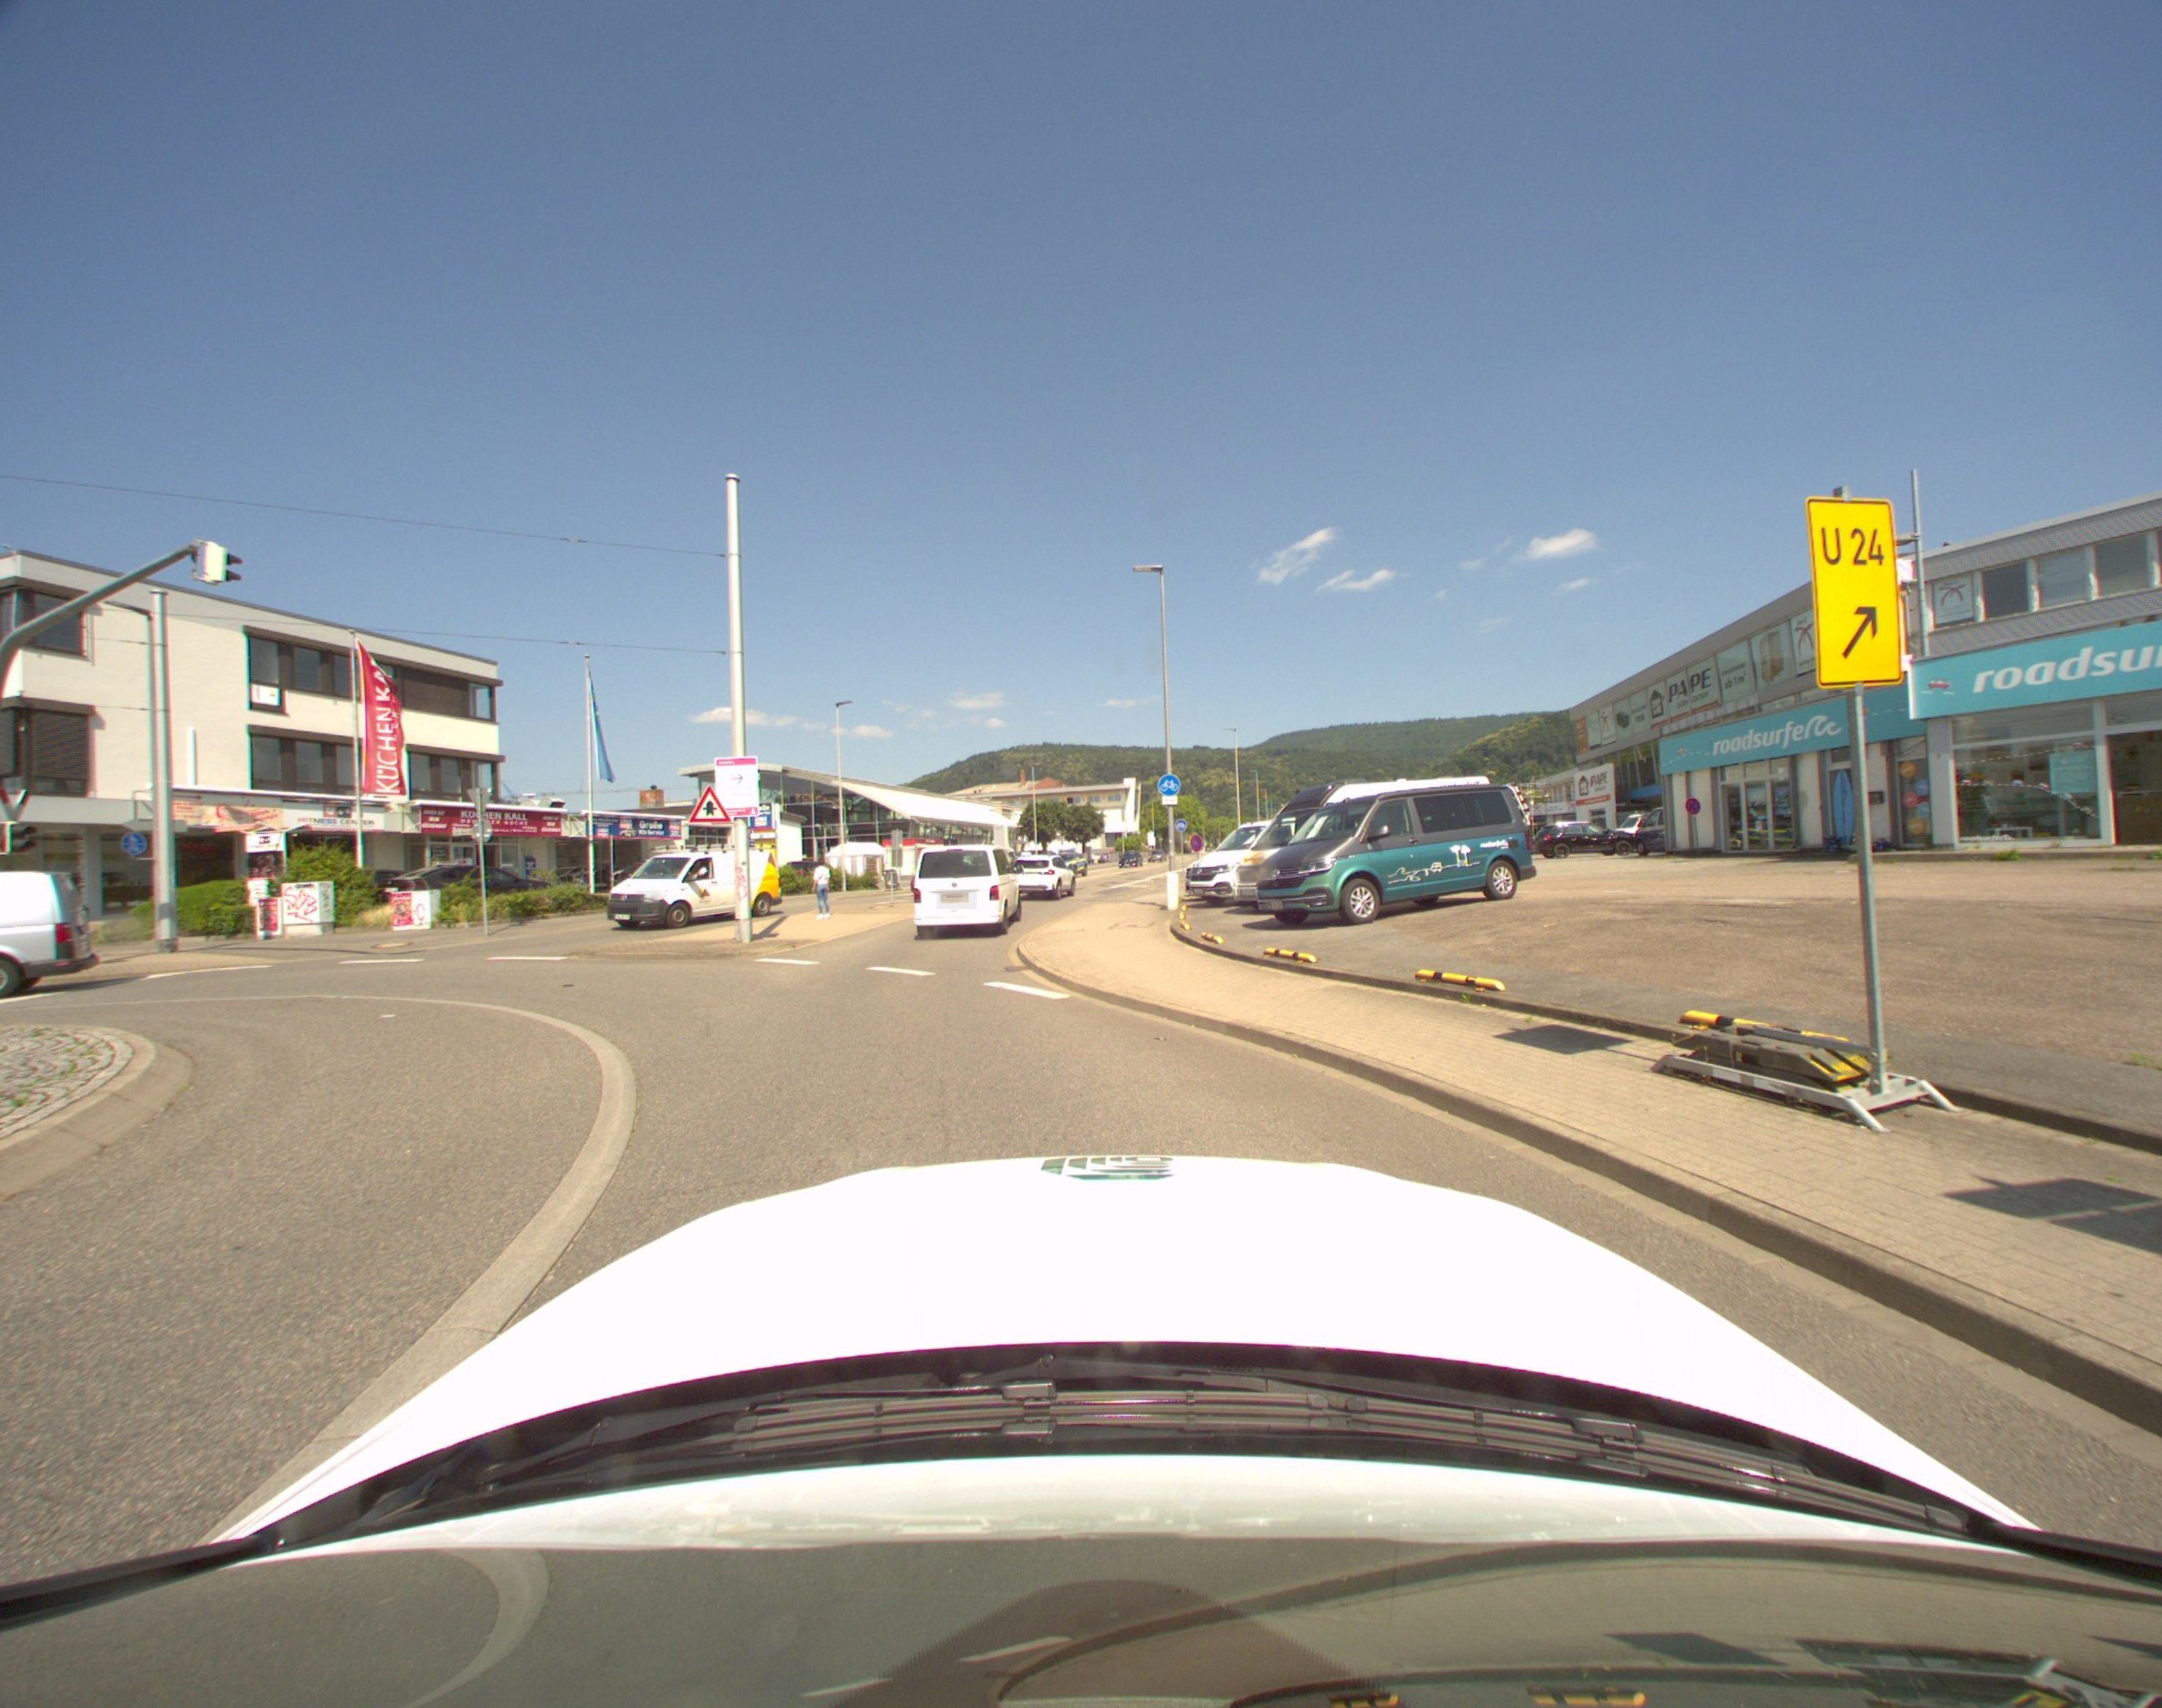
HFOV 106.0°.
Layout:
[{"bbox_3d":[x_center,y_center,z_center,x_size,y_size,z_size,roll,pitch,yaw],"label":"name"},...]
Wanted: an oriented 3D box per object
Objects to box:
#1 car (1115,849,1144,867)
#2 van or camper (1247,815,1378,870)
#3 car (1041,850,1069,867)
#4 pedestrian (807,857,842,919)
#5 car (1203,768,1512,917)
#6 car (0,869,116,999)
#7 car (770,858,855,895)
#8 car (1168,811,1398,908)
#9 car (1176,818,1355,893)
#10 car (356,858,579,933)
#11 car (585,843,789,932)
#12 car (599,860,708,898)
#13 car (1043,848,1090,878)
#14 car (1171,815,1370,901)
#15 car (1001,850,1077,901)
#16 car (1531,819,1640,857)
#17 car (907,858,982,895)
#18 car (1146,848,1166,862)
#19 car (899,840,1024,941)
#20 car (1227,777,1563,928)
[{"bbox_3d":[4.419,0.336,74.029,1.828,1.464,4.015,-3,0,14],"label":"car"},{"bbox_3d":[12.368,-0.574,43.727,6.455,2.561,2.987,-2,0,15],"label":"van or camper"},{"bbox_3d":[-2.640,0.457,81.312,1.751,1.585,3.638,-2,0,-19],"label":"car"},{"bbox_3d":[-7.077,0.922,22.466,0.763,1.656,0.667,-2,0,-27],"label":"pedestrian"},{"bbox_3d":[5.923,-0.318,17.386,6.162,2.717,2.290,-3,0,-22],"label":"car"},{"bbox_3d":[-18.056,1.287,11.954,1.909,1.935,4.858,-2,0,44],"label":"car"},{"bbox_3d":[-13.332,1.097,40.682,1.978,1.618,4.019,-3,0,17],"label":"car"},{"bbox_3d":[4.964,0.107,20.065,5.160,2.000,2.011,-3,-1,-20],"label":"car"},{"bbox_3d":[5.834,0.050,25.934,5.152,2.094,2.038,-2,-2,-16],"label":"car"},{"bbox_3d":[-18.781,1.182,25.338,1.944,1.965,5.305,-2,0,18],"label":"car"},{"bbox_3d":[-10.587,0.804,22.382,2.004,2.114,4.960,-2,1,21],"label":"car"},{"bbox_3d":[-19.498,1.106,37.384,2.012,1.427,4.333,-3,0,13],"label":"car"},{"bbox_3d":[-0.844,0.531,52.043,1.895,1.760,4.467,-3,0,13],"label":"car"},{"bbox_3d":[5.333,0.089,23.056,5.144,2.013,1.920,-4,0,-16],"label":"car"},{"bbox_3d":[-1.480,0.723,30.084,1.982,1.707,4.011,0,1,9],"label":"car"},{"bbox_3d":[23.616,-0.732,38.275,3.957,1.518,1.899,-3,0,15],"label":"car"},{"bbox_3d":[-5.986,0.973,36.159,1.829,1.464,4.157,-3,-2,12],"label":"car"},{"bbox_3d":[8.742,0.097,94.707,1.828,1.464,4.015,-3,0,13],"label":"car"},{"bbox_3d":[-2.602,0.706,19.046,2.155,2.013,5.018,-1,1,0],"label":"car"},{"bbox_3d":[5.254,-0.110,13.564,5.234,2.113,2.080,-3,0,-24],"label":"car"}]
